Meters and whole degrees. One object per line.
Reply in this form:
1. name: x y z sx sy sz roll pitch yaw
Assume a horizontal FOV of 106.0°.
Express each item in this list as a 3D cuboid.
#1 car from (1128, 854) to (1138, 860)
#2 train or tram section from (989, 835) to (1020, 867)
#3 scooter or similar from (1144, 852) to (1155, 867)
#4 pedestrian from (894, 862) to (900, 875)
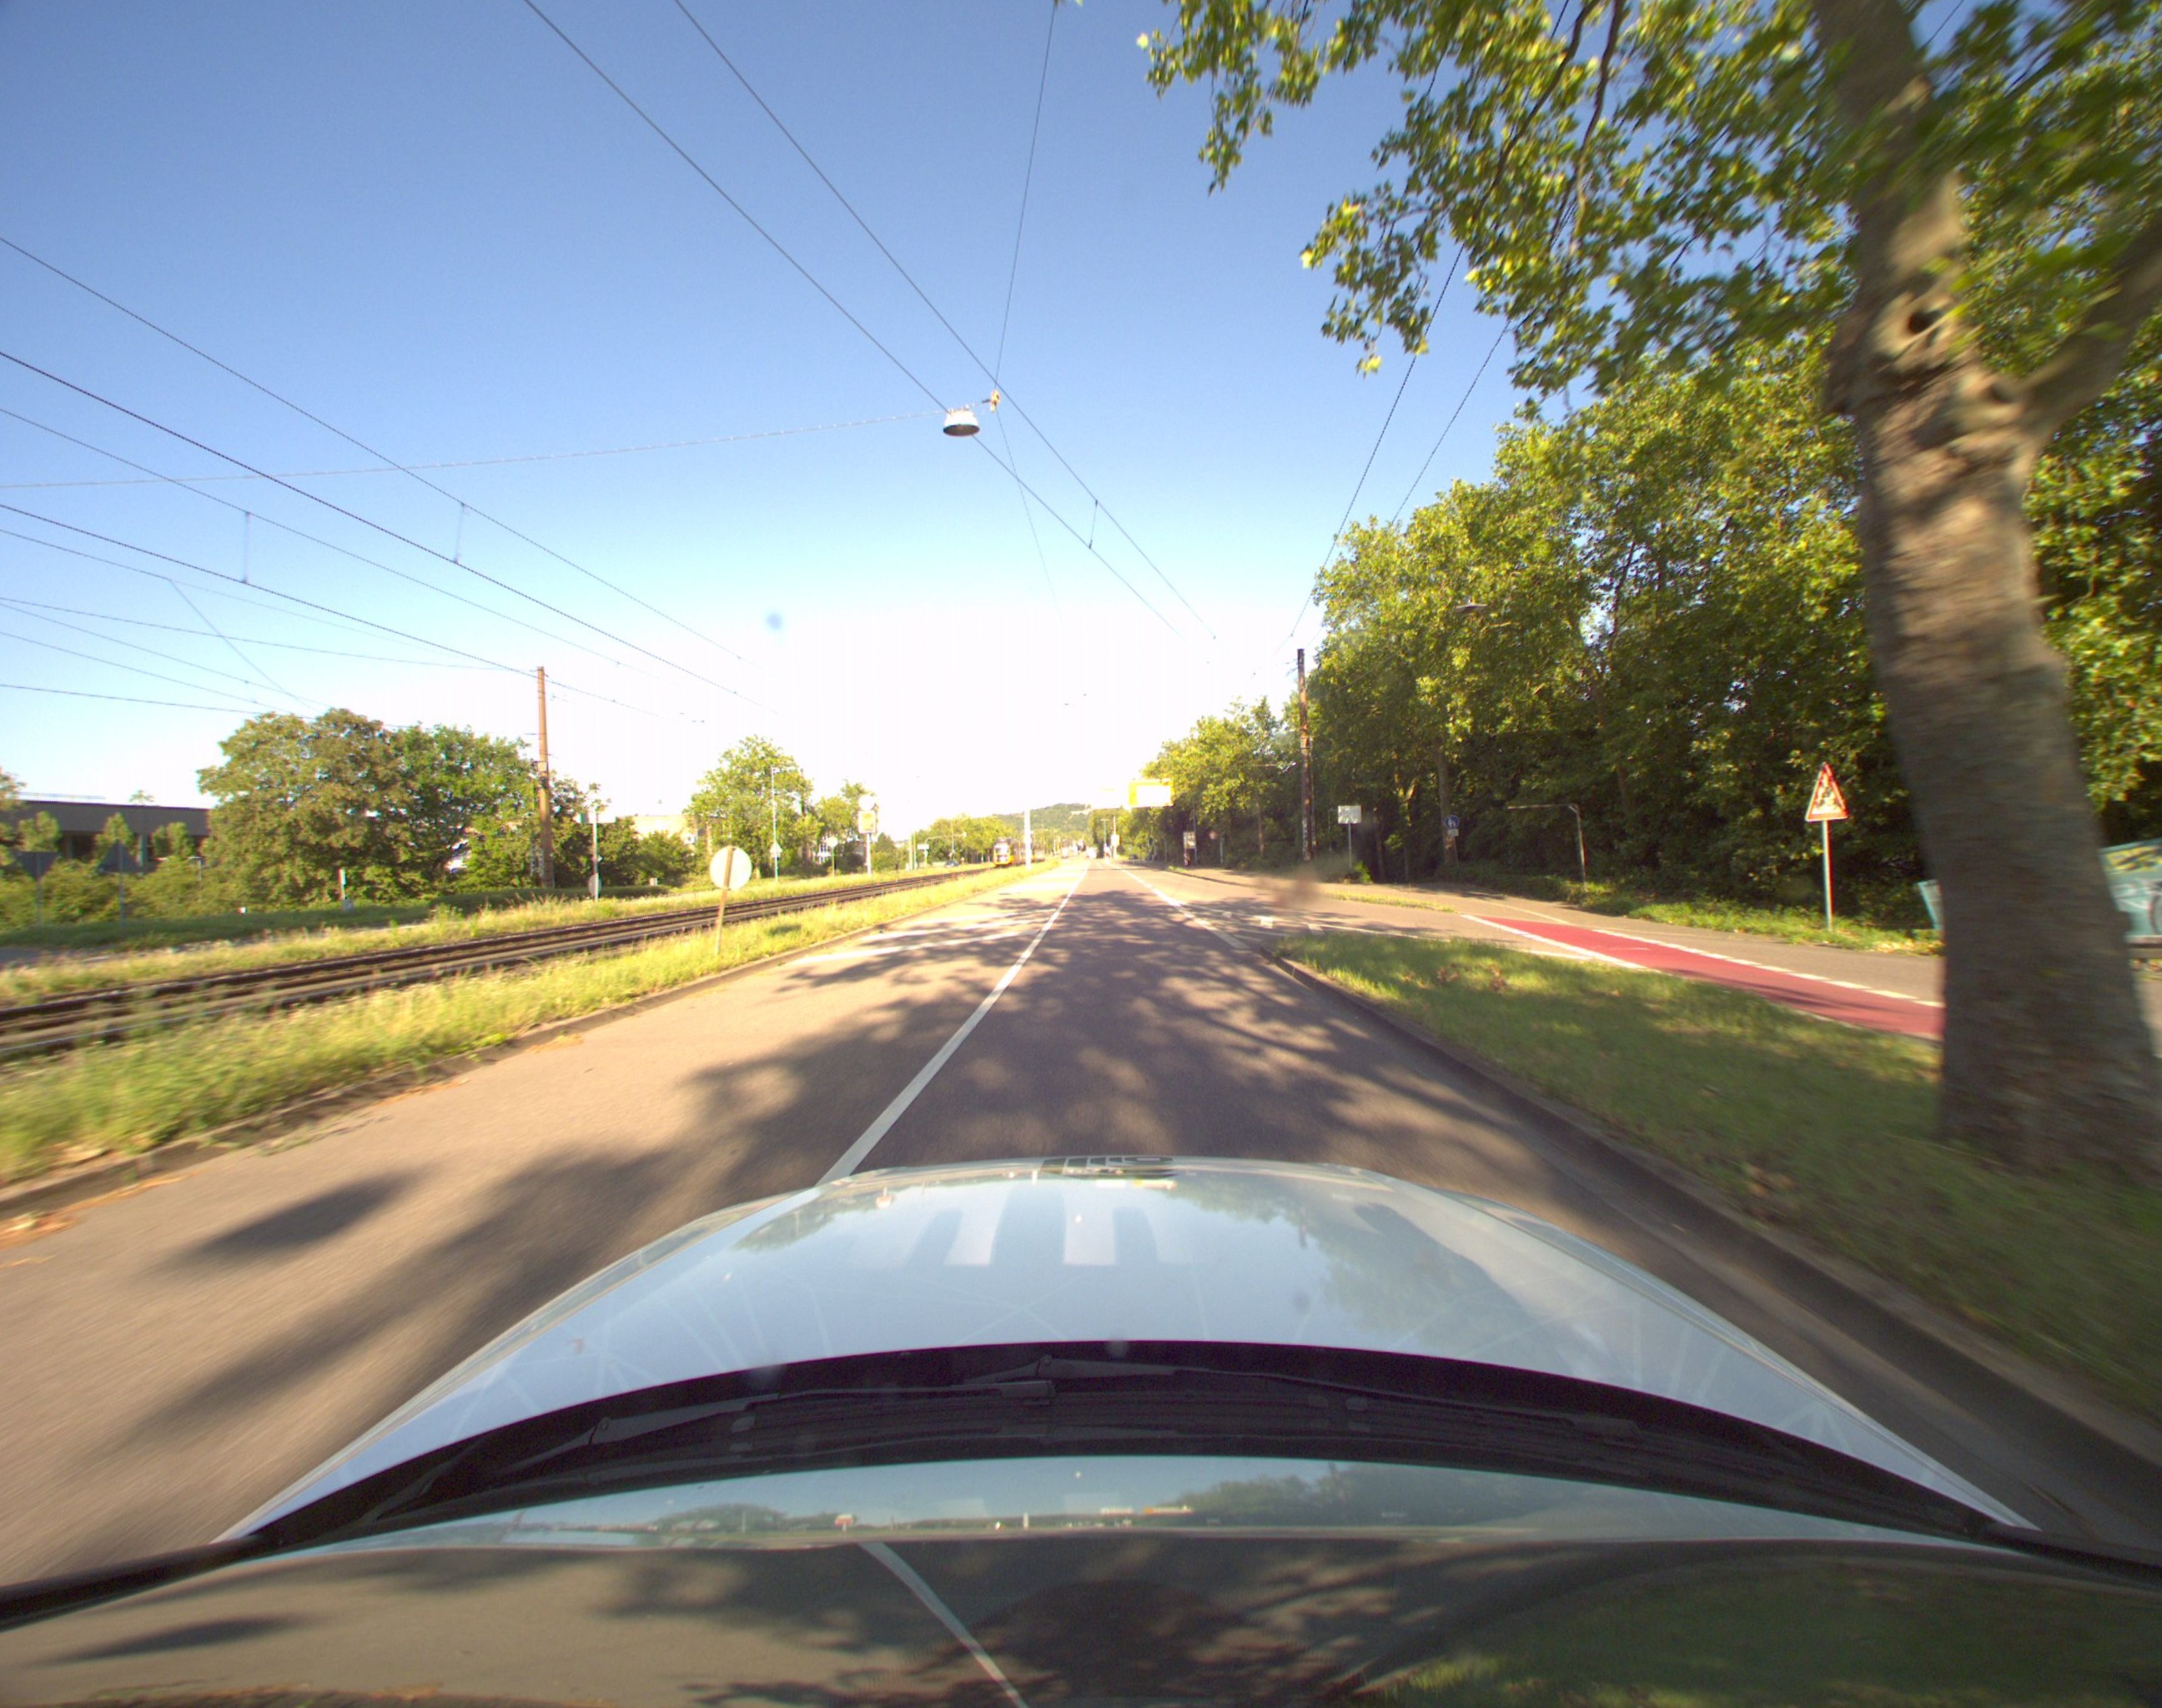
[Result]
1. car: 12.757 0.772 200.491 2.075 1.566 3.963 -1 0 7
2. train or tram section: -9.980 -0.374 106.996 2.795 3.902 12.331 -1 0 0
3. scooter or similar: 12.326 1.004 146.035 1.675 2.715 4.870 -1 0 1
4. pedestrian: -27.484 2.151 121.816 0.535 1.821 0.655 -1 -1 23
